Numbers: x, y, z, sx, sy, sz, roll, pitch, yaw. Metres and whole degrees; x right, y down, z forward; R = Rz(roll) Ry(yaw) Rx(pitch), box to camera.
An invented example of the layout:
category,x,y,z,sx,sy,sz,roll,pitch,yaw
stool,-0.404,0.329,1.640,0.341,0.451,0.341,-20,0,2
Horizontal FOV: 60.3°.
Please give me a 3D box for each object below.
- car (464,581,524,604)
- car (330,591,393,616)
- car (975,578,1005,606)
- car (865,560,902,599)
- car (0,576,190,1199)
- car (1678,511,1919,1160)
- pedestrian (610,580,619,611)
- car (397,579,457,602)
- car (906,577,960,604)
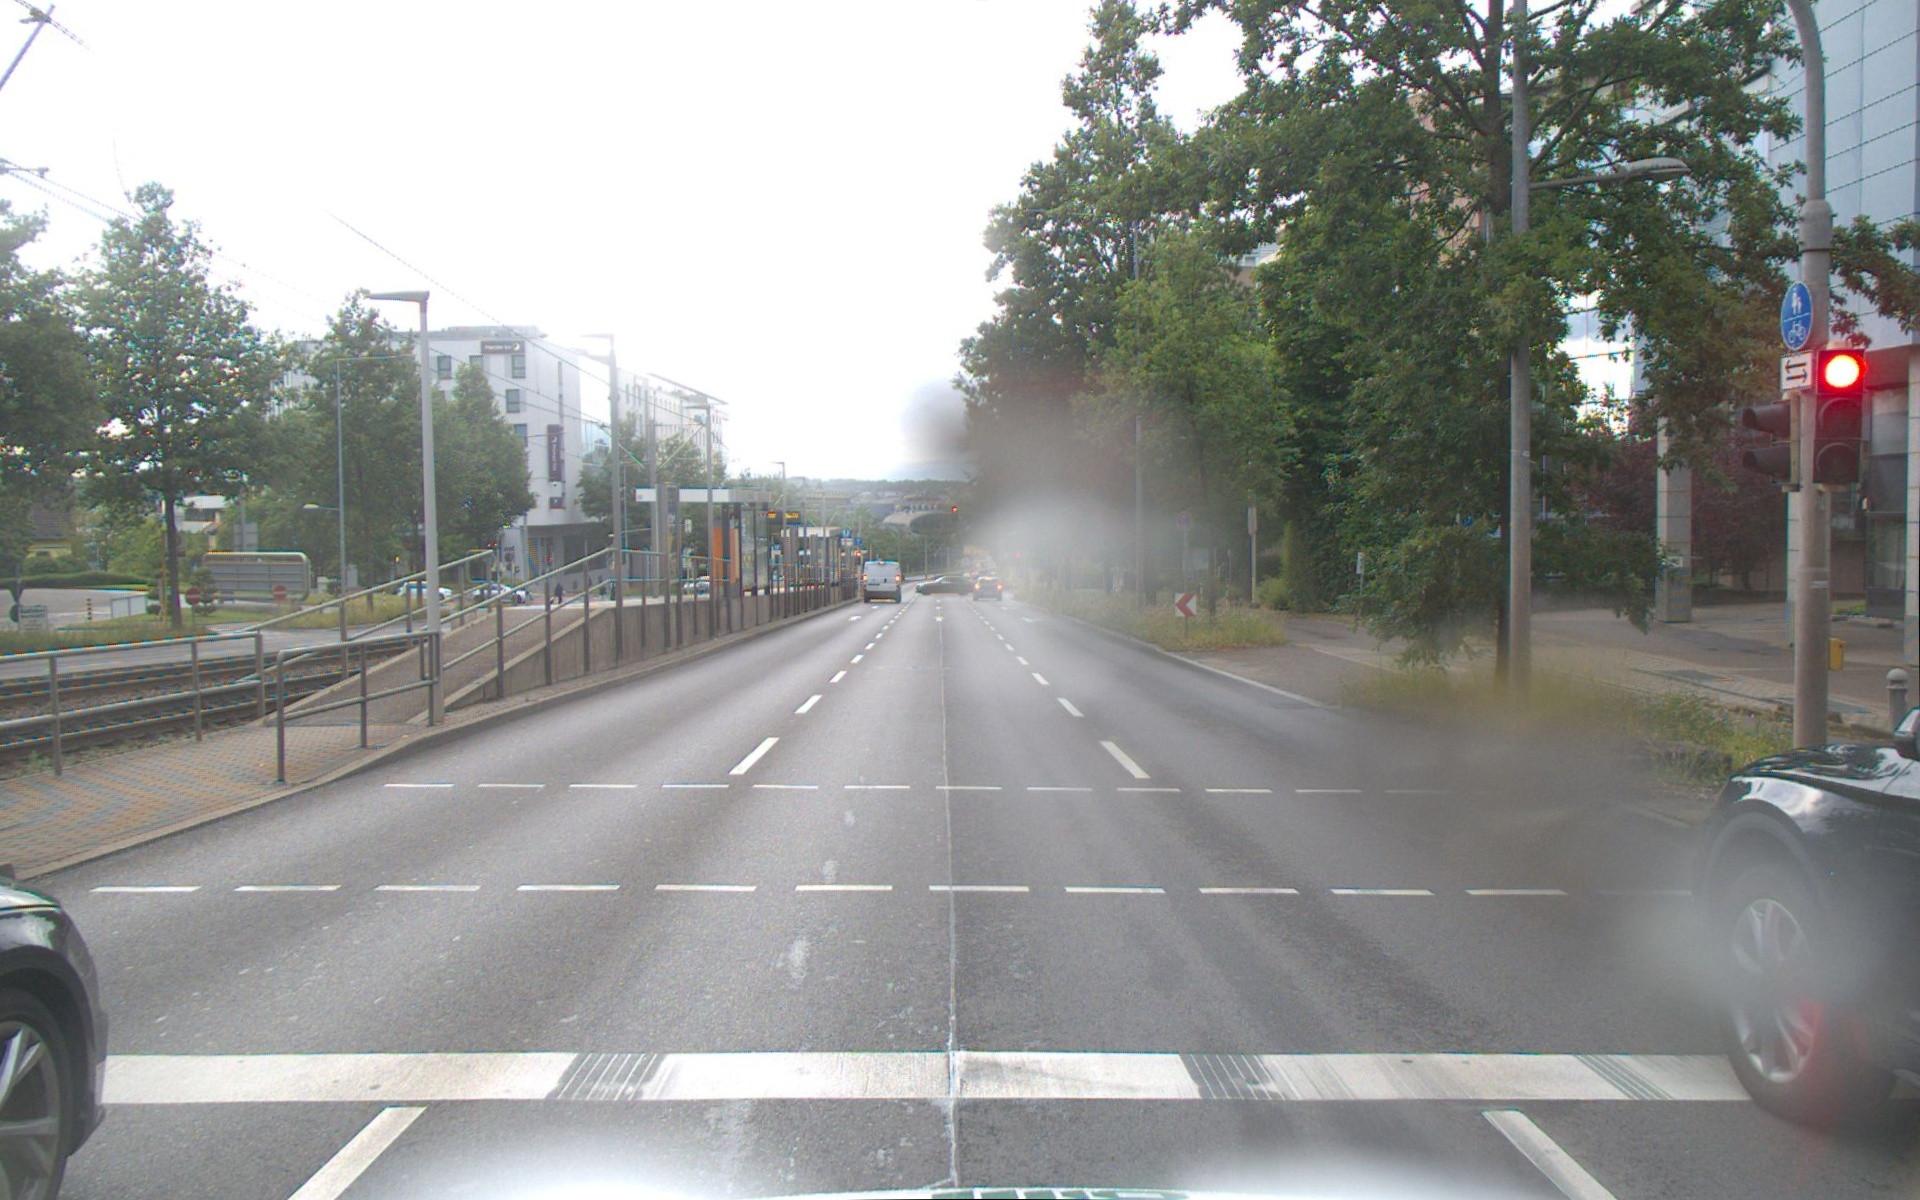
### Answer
category,x,y,z,sx,sy,sz,roll,pitch,yaw
car,-33.587,-0.560,119.309,3.786,1.461,1.656,-2,1,3
car,-35.119,0.194,97.068,3.297,1.411,1.434,0,1,16
car,1.817,-0.495,102.669,1.738,1.720,3.845,0,1,-1
car,-4.281,-1.159,93.012,2.051,2.089,4.605,0,1,-2
car,-2.764,0.713,1.866,1.744,1.492,4.513,0,1,-1
car,3.332,0.607,3.313,1.781,1.641,4.470,0,1,-1
pedestrian,-22.038,-0.270,105.453,0.465,1.954,0.490,0,0,-1
car,-39.245,-0.689,121.833,4.022,1.461,1.649,-3,1,-16
car,-2.074,-0.727,125.304,3.913,2.049,1.756,0,0,-9
